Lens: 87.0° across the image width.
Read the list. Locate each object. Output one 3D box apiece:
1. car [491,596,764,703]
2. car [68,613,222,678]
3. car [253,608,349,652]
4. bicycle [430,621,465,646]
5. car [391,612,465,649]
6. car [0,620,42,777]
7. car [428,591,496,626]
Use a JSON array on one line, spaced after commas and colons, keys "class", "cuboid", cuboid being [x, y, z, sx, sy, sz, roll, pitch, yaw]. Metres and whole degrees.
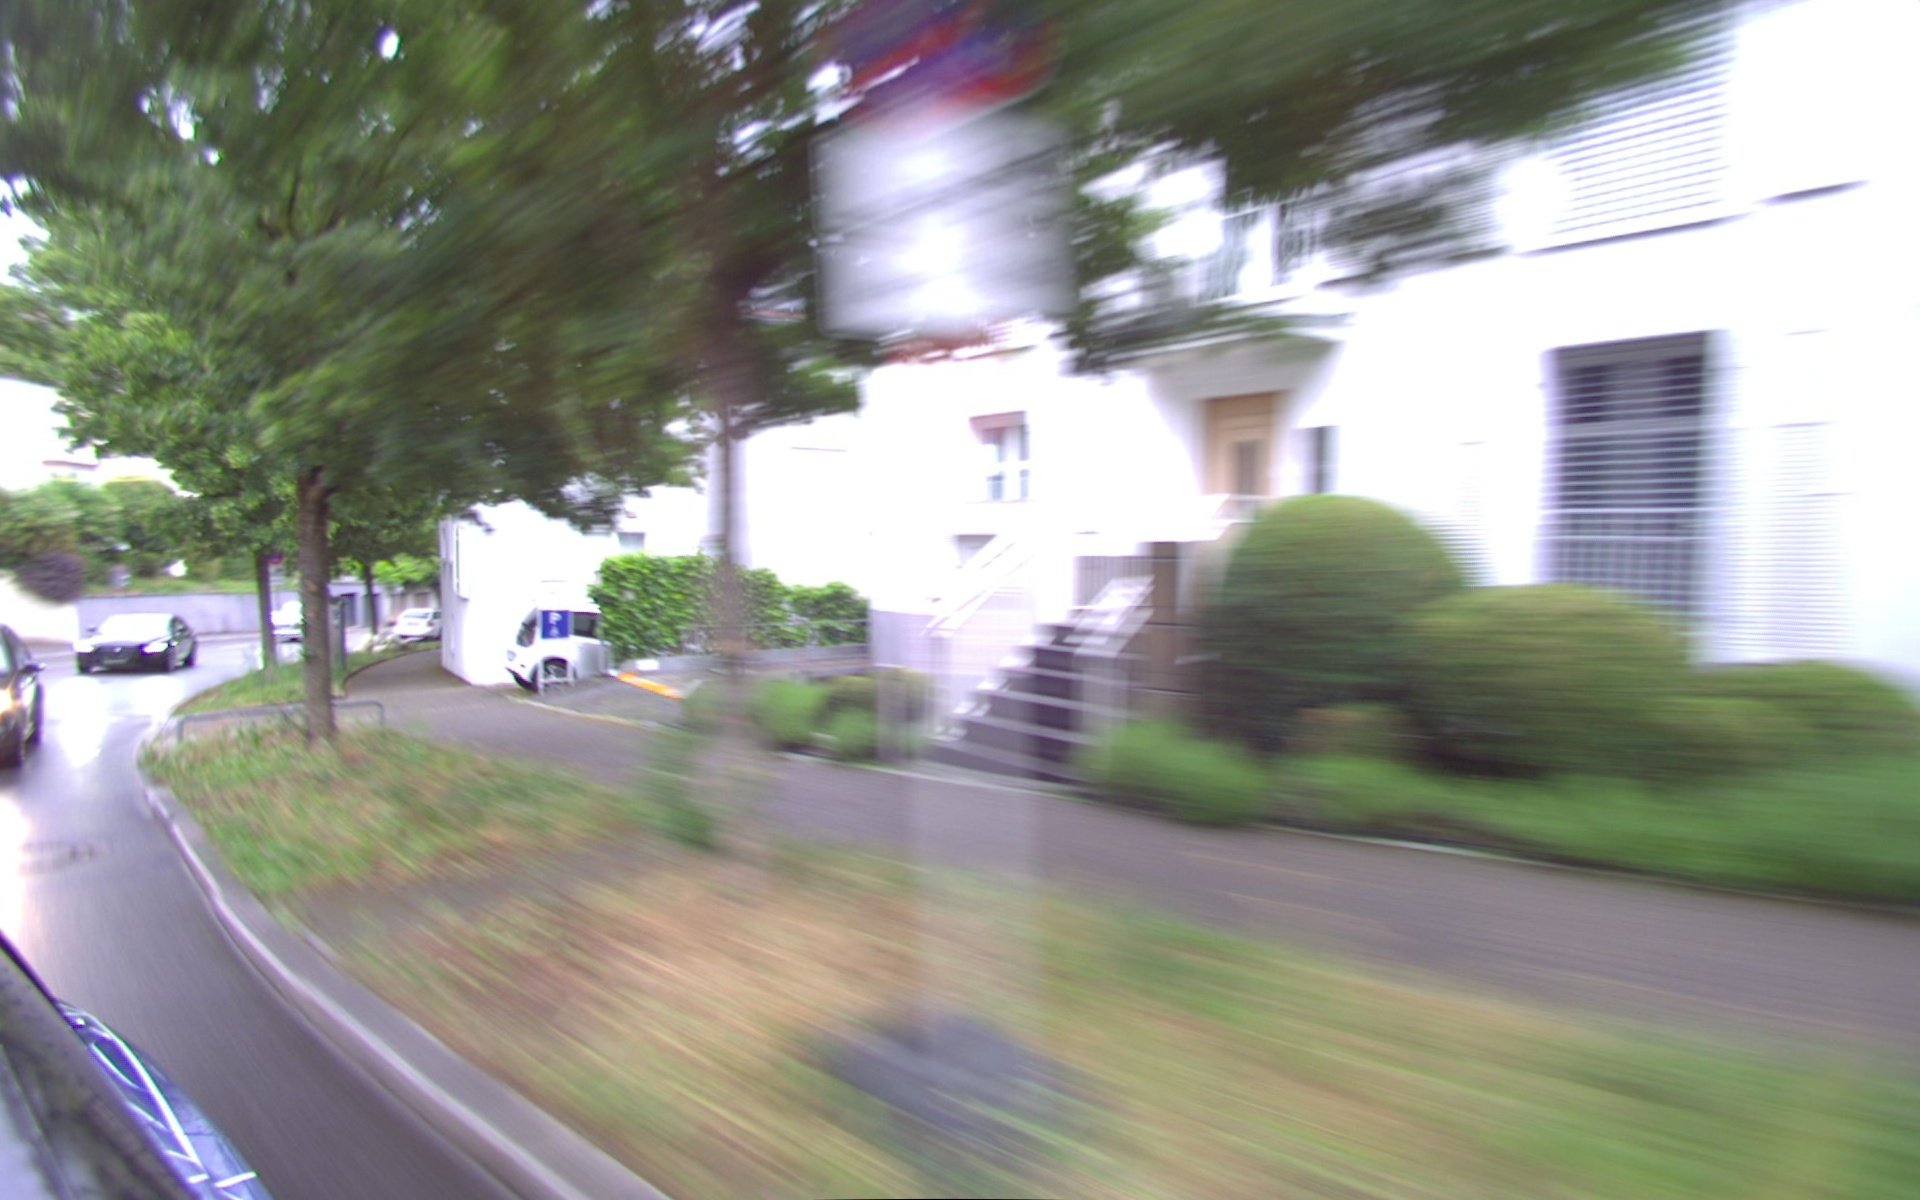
[{"class": "car", "cuboid": [-5.432, 0.762, 16.681, 3.933, 1.573, 1.754, 1, -1, -33]}, {"class": "car", "cuboid": [-20.643, 1.120, 25.839, 1.777, 1.500, 4.029, 0, -2, -19]}, {"class": "car", "cuboid": [-27.551, 1.208, 42.473, 1.980, 1.674, 4.457, 2, -1, -14]}, {"class": "bicycle", "cuboid": [-21.734, 1.411, 42.968, 0.431, 1.037, 1.903, 0, -1, 3]}, {"class": "car", "cuboid": [-23.969, 1.331, 45.734, 1.660, 1.520, 4.325, -3, 0, -10]}, {"class": "car", "cuboid": [-10.662, 0.992, 10.434, 1.554, 1.463, 3.593, 3, -5, -40]}, {"class": "car", "cuboid": [-24.918, 0.456, 50.790, 1.660, 1.621, 4.584, 2, -1, -8]}]
